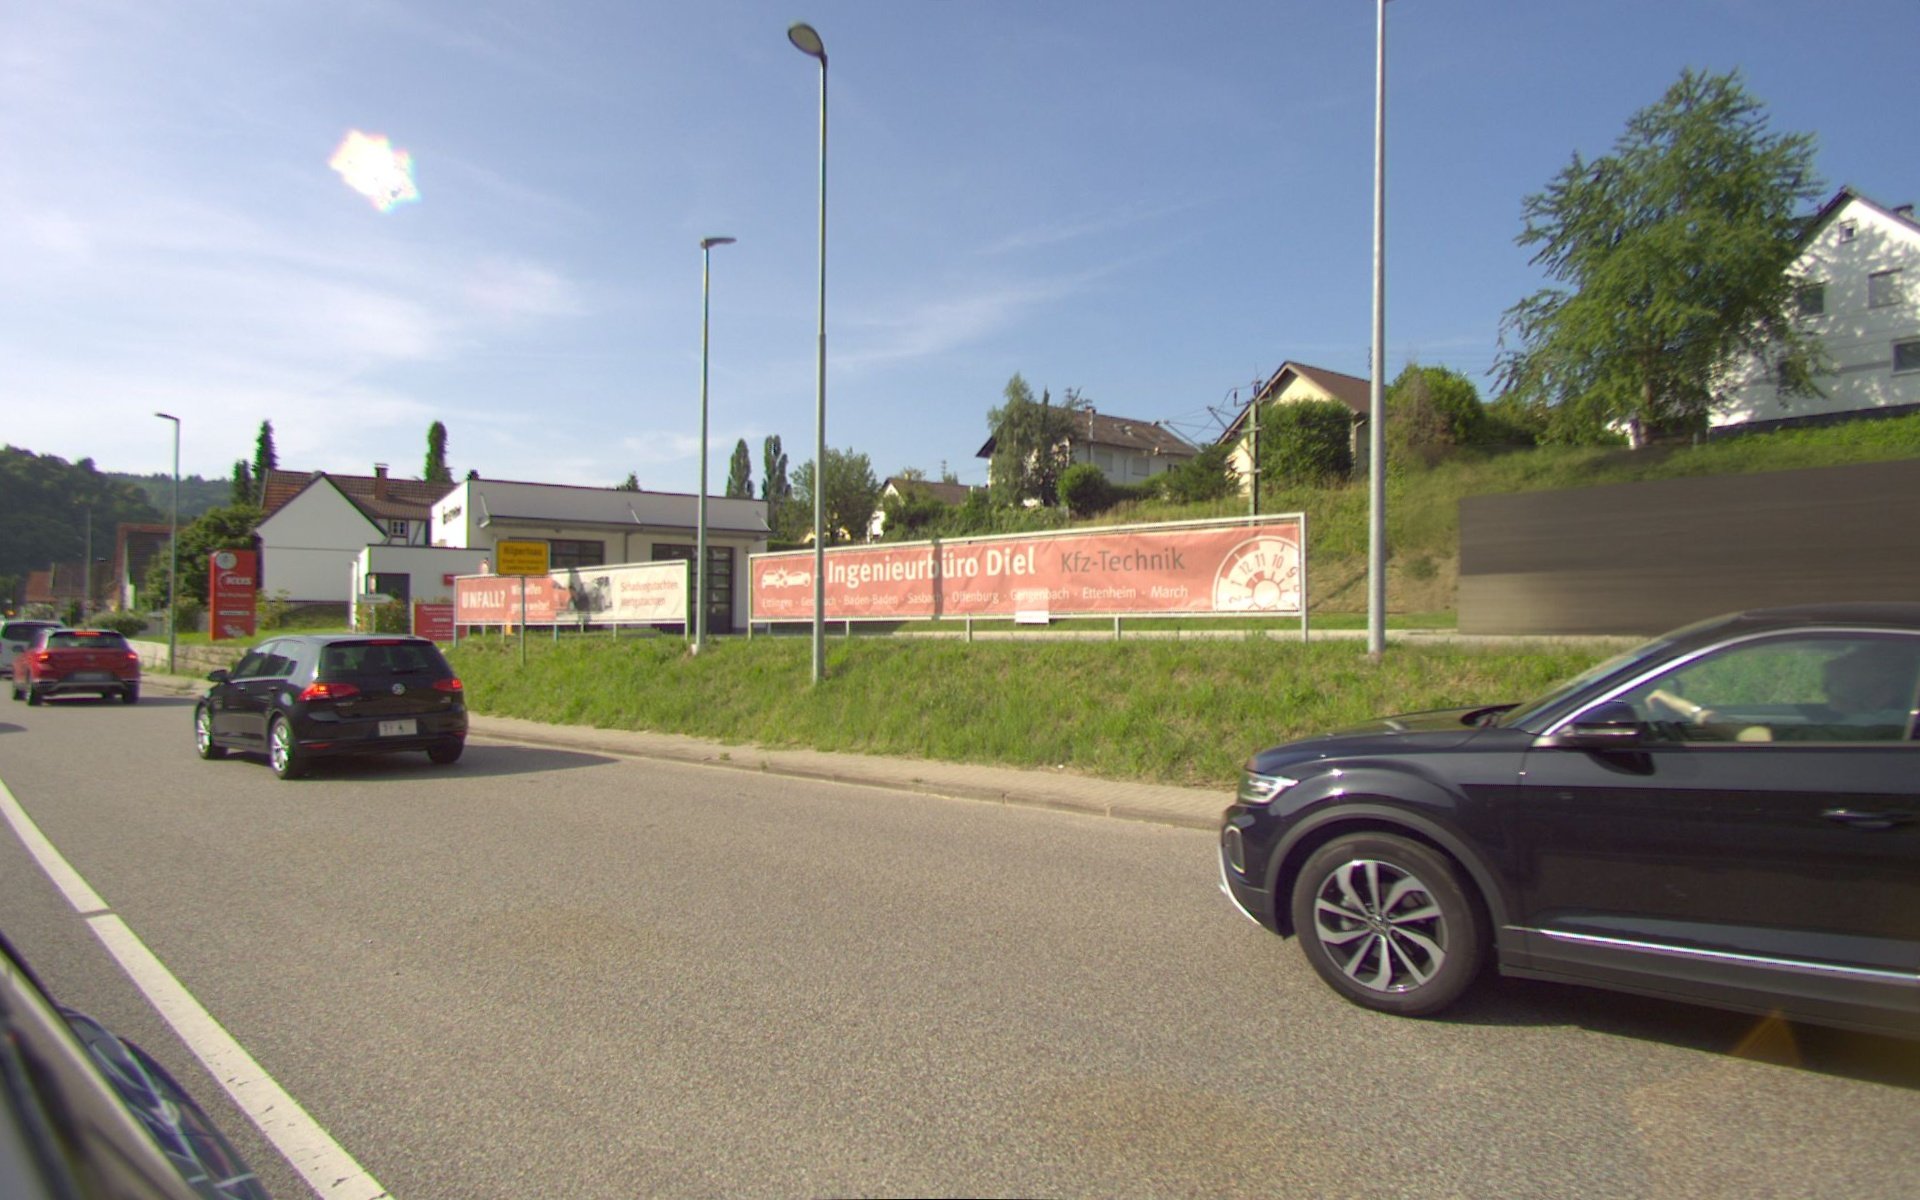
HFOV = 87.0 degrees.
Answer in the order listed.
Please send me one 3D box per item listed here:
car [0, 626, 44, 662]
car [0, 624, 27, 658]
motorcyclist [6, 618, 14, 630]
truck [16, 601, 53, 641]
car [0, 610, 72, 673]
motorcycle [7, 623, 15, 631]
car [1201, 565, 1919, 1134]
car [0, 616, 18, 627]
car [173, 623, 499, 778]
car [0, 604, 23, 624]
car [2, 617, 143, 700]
[{"bbox_3d":[-39.005,1.807,41.552,4.234,1.409,1.753,-3,-4,44],"label":"car"},{"bbox_3d":[-47.551,2.023,50.132,1.776,1.630,4.465,1,-2,-44],"label":"car"},{"bbox_3d":[-131.839,3.303,140.444,0.815,1.570,0.629,1,-1,-38],"label":"motorcyclist"},{"bbox_3d":[-97.311,2.230,106.350,2.548,3.961,11.315,2,-2,-44],"label":"truck"},{"bbox_3d":[-30.511,1.335,32.860,5.294,1.902,1.876,-2,-3,42],"label":"car"},{"bbox_3d":[-131.590,3.725,140.329,0.645,1.076,2.186,1,-1,-39],"label":"motorcycle"},{"bbox_3d":[3.172,0.680,3.380,4.266,1.528,1.758,-2,-2,38],"label":"car"},{"bbox_3d":[-141.677,3.220,150.459,1.608,1.496,4.012,-2,1,-32],"label":"car"},{"bbox_3d":[-7.084,0.990,11.332,4.266,1.418,1.758,-2,-2,38],"label":"car"},{"bbox_3d":[-103.734,1.511,110.233,3.997,2.029,1.973,-1,0,40],"label":"car"},{"bbox_3d":[-18.948,1.200,21.555,4.157,1.596,1.688,-1,-4,41],"label":"car"}]
